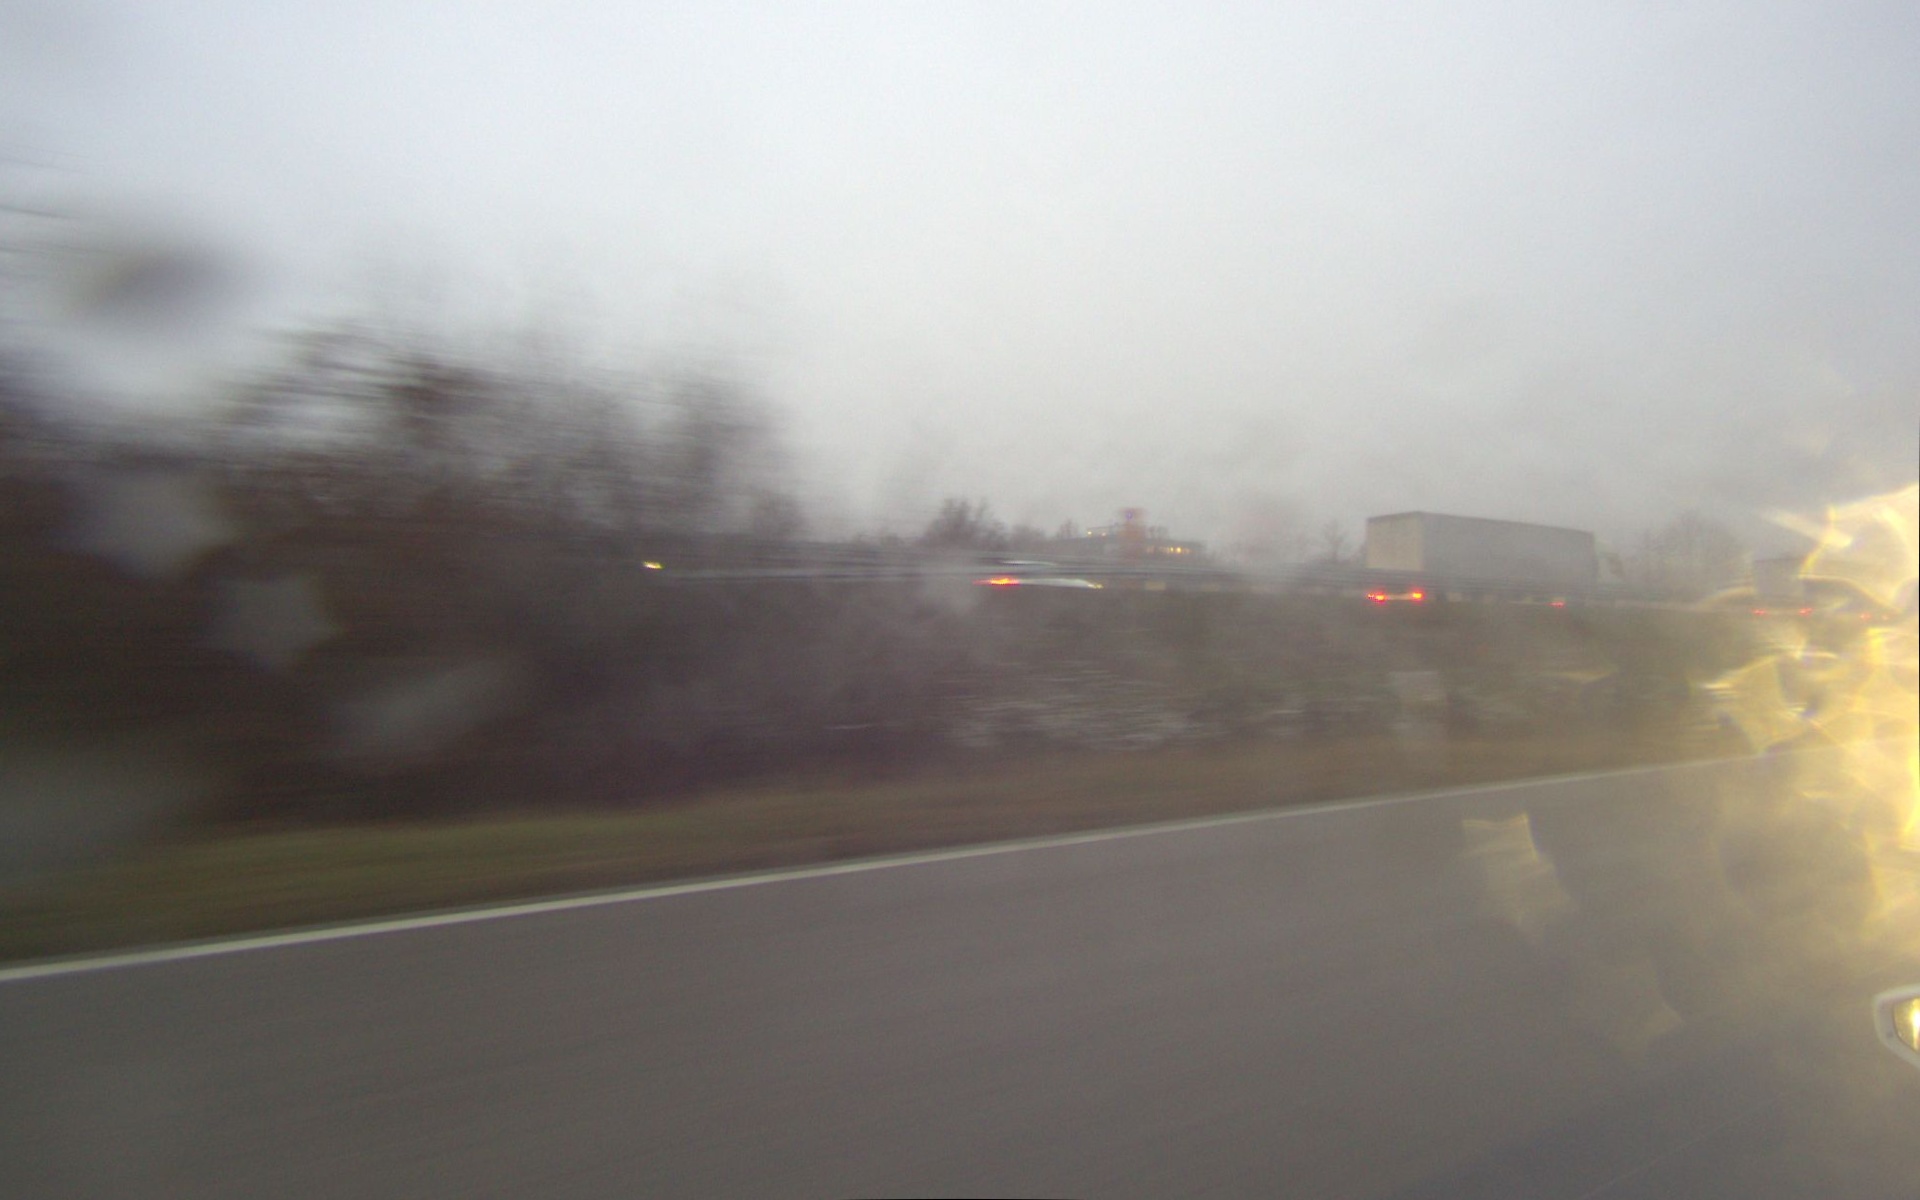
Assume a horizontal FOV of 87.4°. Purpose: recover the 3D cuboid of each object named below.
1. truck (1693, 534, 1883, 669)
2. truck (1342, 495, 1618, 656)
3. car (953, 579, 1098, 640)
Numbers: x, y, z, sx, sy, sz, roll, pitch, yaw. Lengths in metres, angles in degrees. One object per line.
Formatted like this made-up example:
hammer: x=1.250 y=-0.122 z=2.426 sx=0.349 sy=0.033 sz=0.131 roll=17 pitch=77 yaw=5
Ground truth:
truck: x=63.126 y=0.545 z=75.236 sx=7.466 sy=7.815 sz=39.899 roll=1 pitch=-1 yaw=44
truck: x=23.991 y=-0.770 z=45.622 sx=15.567 sy=6.372 sz=3.742 roll=2 pitch=0 yaw=-33
car: x=2.420 y=0.364 z=36.660 sx=5.045 sy=2.040 sz=1.984 roll=2 pitch=0 yaw=-31
